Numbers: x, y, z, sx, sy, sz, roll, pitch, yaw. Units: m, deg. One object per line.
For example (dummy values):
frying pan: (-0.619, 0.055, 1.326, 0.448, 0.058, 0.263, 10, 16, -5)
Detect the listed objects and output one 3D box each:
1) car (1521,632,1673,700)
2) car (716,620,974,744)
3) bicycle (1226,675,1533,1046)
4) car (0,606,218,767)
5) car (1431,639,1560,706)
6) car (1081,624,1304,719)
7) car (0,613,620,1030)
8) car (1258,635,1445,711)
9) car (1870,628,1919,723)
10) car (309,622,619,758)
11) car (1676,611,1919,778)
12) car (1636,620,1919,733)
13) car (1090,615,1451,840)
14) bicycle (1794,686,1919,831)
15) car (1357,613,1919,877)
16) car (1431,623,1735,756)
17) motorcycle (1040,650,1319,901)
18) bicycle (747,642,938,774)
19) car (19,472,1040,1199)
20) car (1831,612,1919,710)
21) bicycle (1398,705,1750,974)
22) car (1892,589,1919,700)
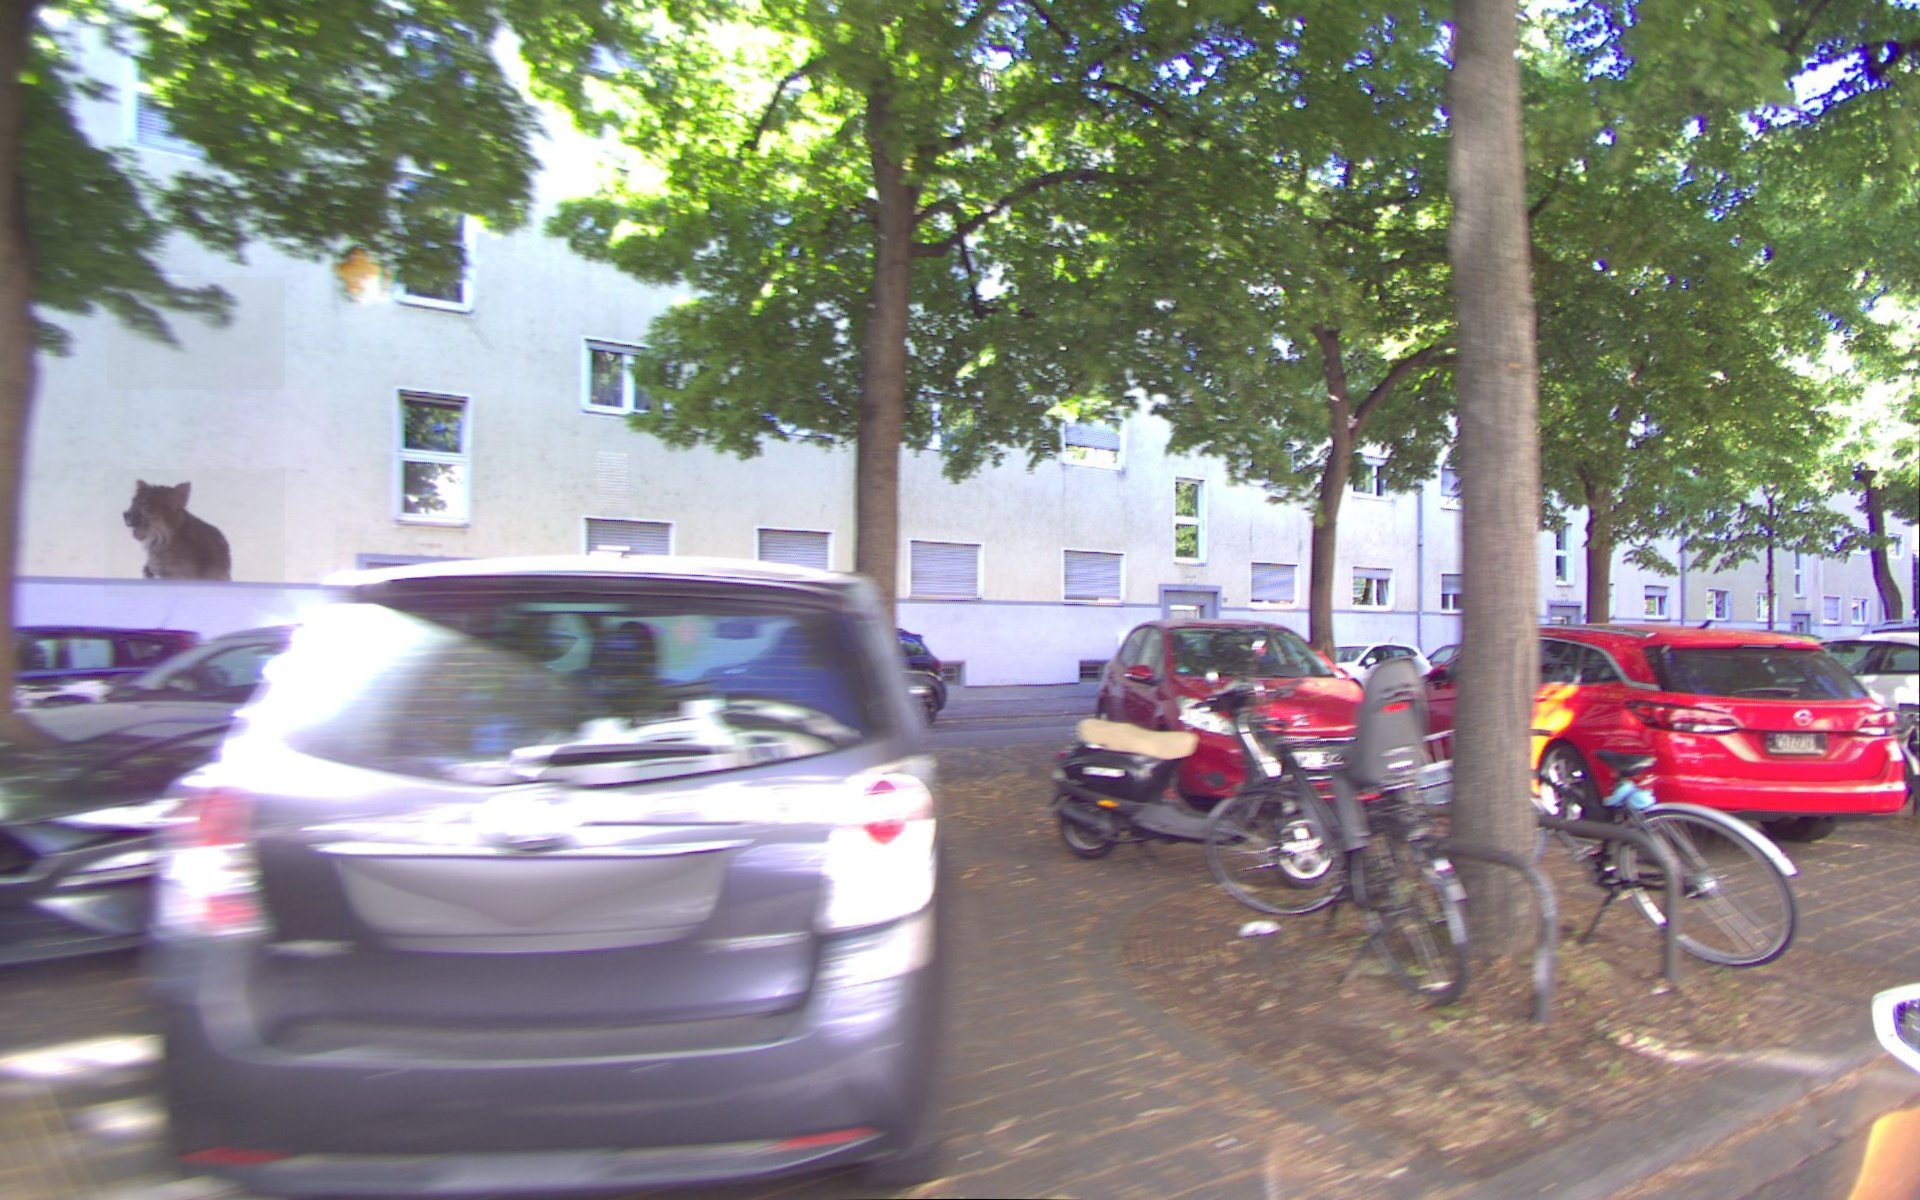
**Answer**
car: (17.604, 1.758, 27.718, 4.507, 1.745, 1.732, 1, -3, -32)
car: (-1.808, 1.235, 16.188, 3.798, 1.776, 1.691, 1, -2, -34)
bicycle: (1.701, 0.973, 4.366, 0.372, 1.174, 1.688, 1, 0, -10)
car: (-10.582, 0.972, 11.204, 3.561, 1.698, 1.467, 1, -5, -32)
car: (13.588, 1.809, 25.454, 3.148, 1.579, 1.467, 1, -3, -32)
car: (4.744, 1.399, 20.365, 4.326, 1.741, 1.838, 1, -4, -30)
car: (-3.638, 0.798, 5.613, 1.781, 1.409, 4.201, 1, -1, 4)
car: (8.914, 1.598, 22.809, 4.114, 1.586, 1.882, 1, -3, -32)
car: (16.063, 1.192, 14.733, 1.698, 1.501, 4.110, 1, -1, 0)
car: (-6.560, 1.117, 13.444, 3.540, 1.596, 1.608, 1, -3, -32)
car: (10.168, 0.955, 11.072, 1.739, 1.617, 3.692, 1, 0, -4)
car: (12.976, 1.138, 15.999, 1.809, 1.576, 3.917, 0, -2, 1)
car: (2.360, 0.899, 8.800, 1.835, 1.492, 4.116, 1, -1, -1)
bicycle: (7.237, 1.189, 7.381, 0.418, 1.007, 1.812, 1, -2, -14)
car: (5.068, 0.890, 8.237, 1.726, 1.506, 4.629, 1, 0, -1)
car: (7.949, 1.049, 13.310, 1.761, 1.454, 4.002, 1, -1, 4)
motorcycle: (1.272, 0.944, 5.834, 1.486, 1.271, 0.644, -1, -1, 24)
bicycle: (-1.113, 1.030, 9.652, 1.767, 1.216, 0.356, 1, 0, -6)
car: (-0.856, 0.637, 3.897, 1.827, 1.675, 4.088, 1, 0, -2)
car: (18.620, 1.130, 18.151, 1.862, 1.800, 4.393, 1, -2, -2)
bicycle: (2.989, 1.096, 5.146, 0.372, 0.931, 1.901, 1, 0, -10)
car: (24.153, 0.845, 21.685, 2.406, 2.656, 6.091, 0, -5, 2)
